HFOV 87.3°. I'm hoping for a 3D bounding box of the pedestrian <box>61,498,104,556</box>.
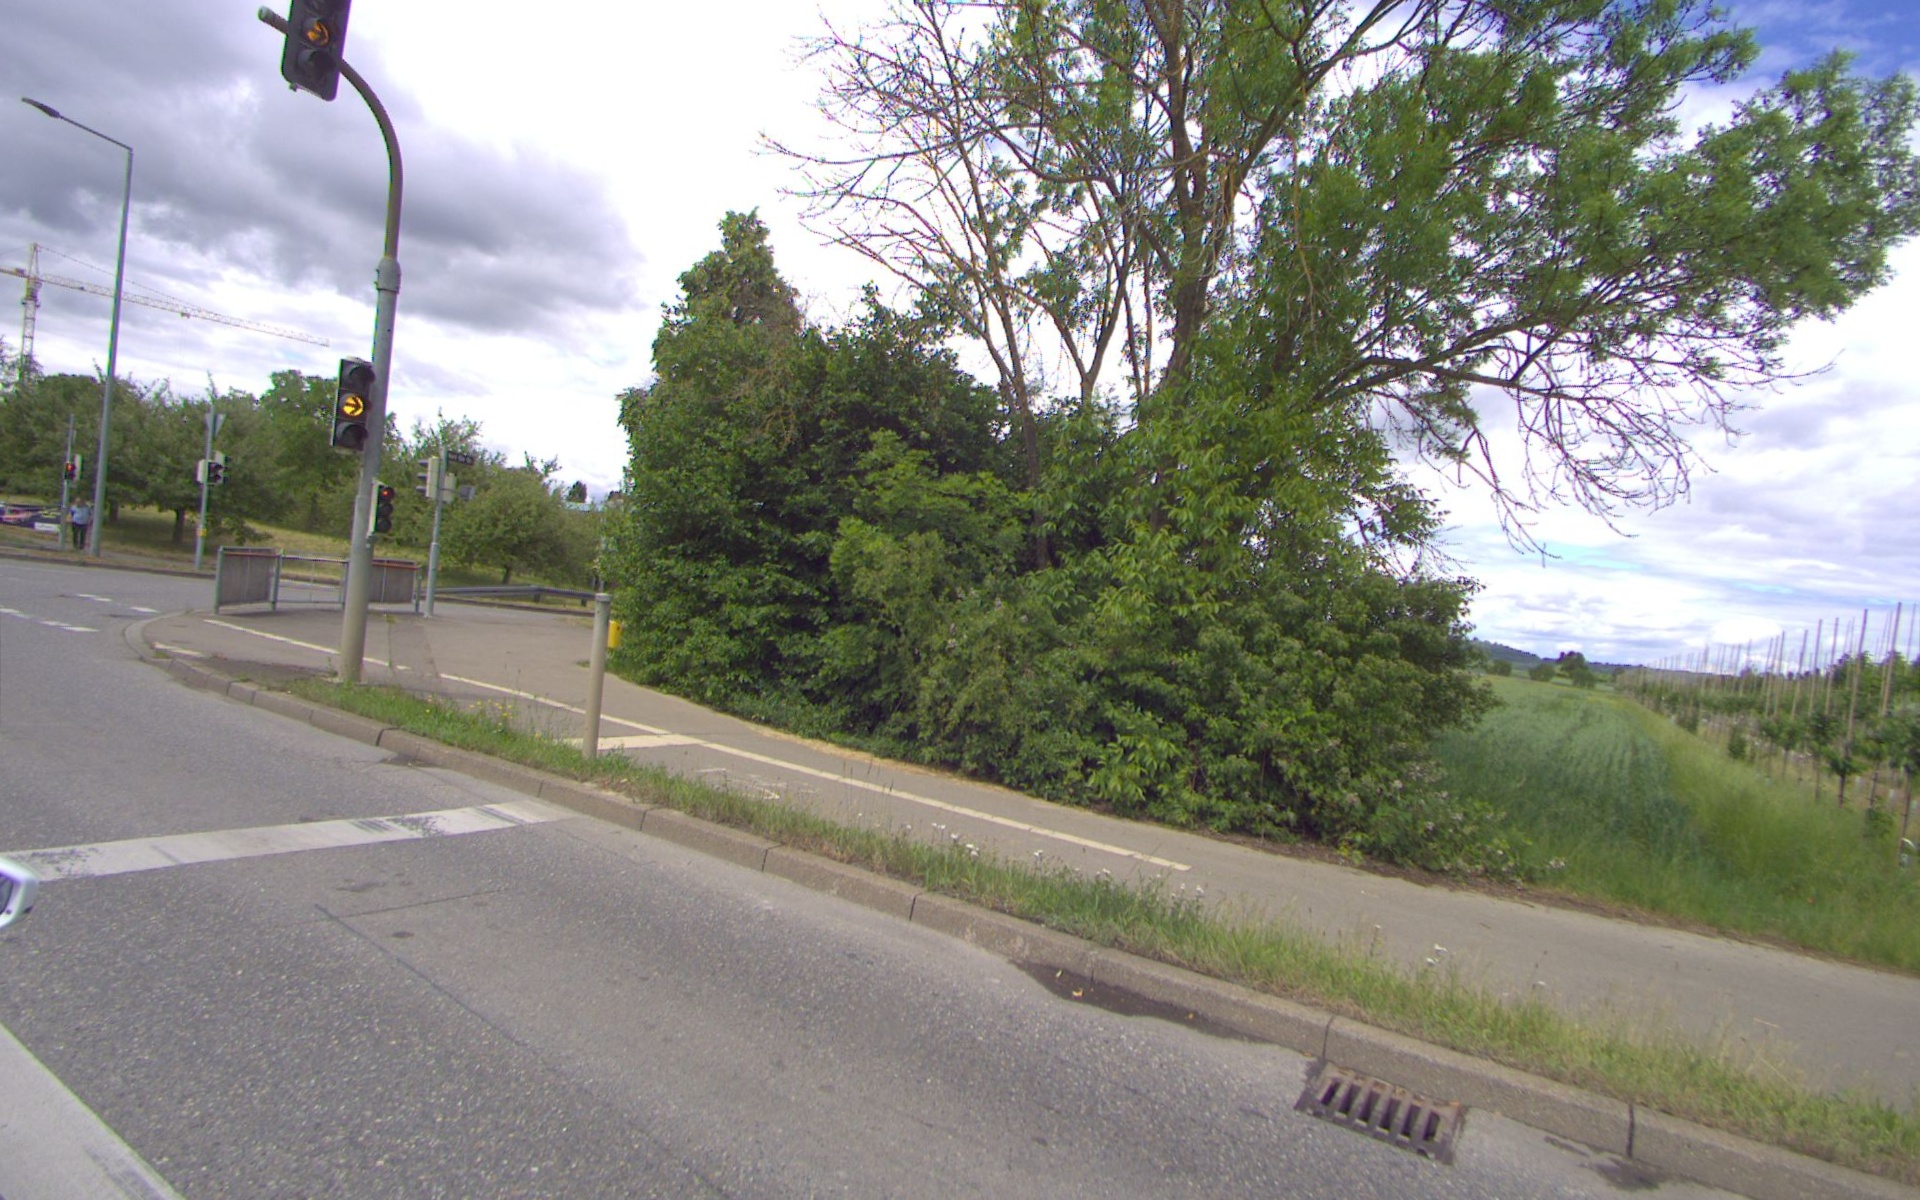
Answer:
[{"bbox_3d":[-29.786,-2.485,34.137,1.027,1.813,0.719,6,-1,36],"label":"pedestrian"}]
